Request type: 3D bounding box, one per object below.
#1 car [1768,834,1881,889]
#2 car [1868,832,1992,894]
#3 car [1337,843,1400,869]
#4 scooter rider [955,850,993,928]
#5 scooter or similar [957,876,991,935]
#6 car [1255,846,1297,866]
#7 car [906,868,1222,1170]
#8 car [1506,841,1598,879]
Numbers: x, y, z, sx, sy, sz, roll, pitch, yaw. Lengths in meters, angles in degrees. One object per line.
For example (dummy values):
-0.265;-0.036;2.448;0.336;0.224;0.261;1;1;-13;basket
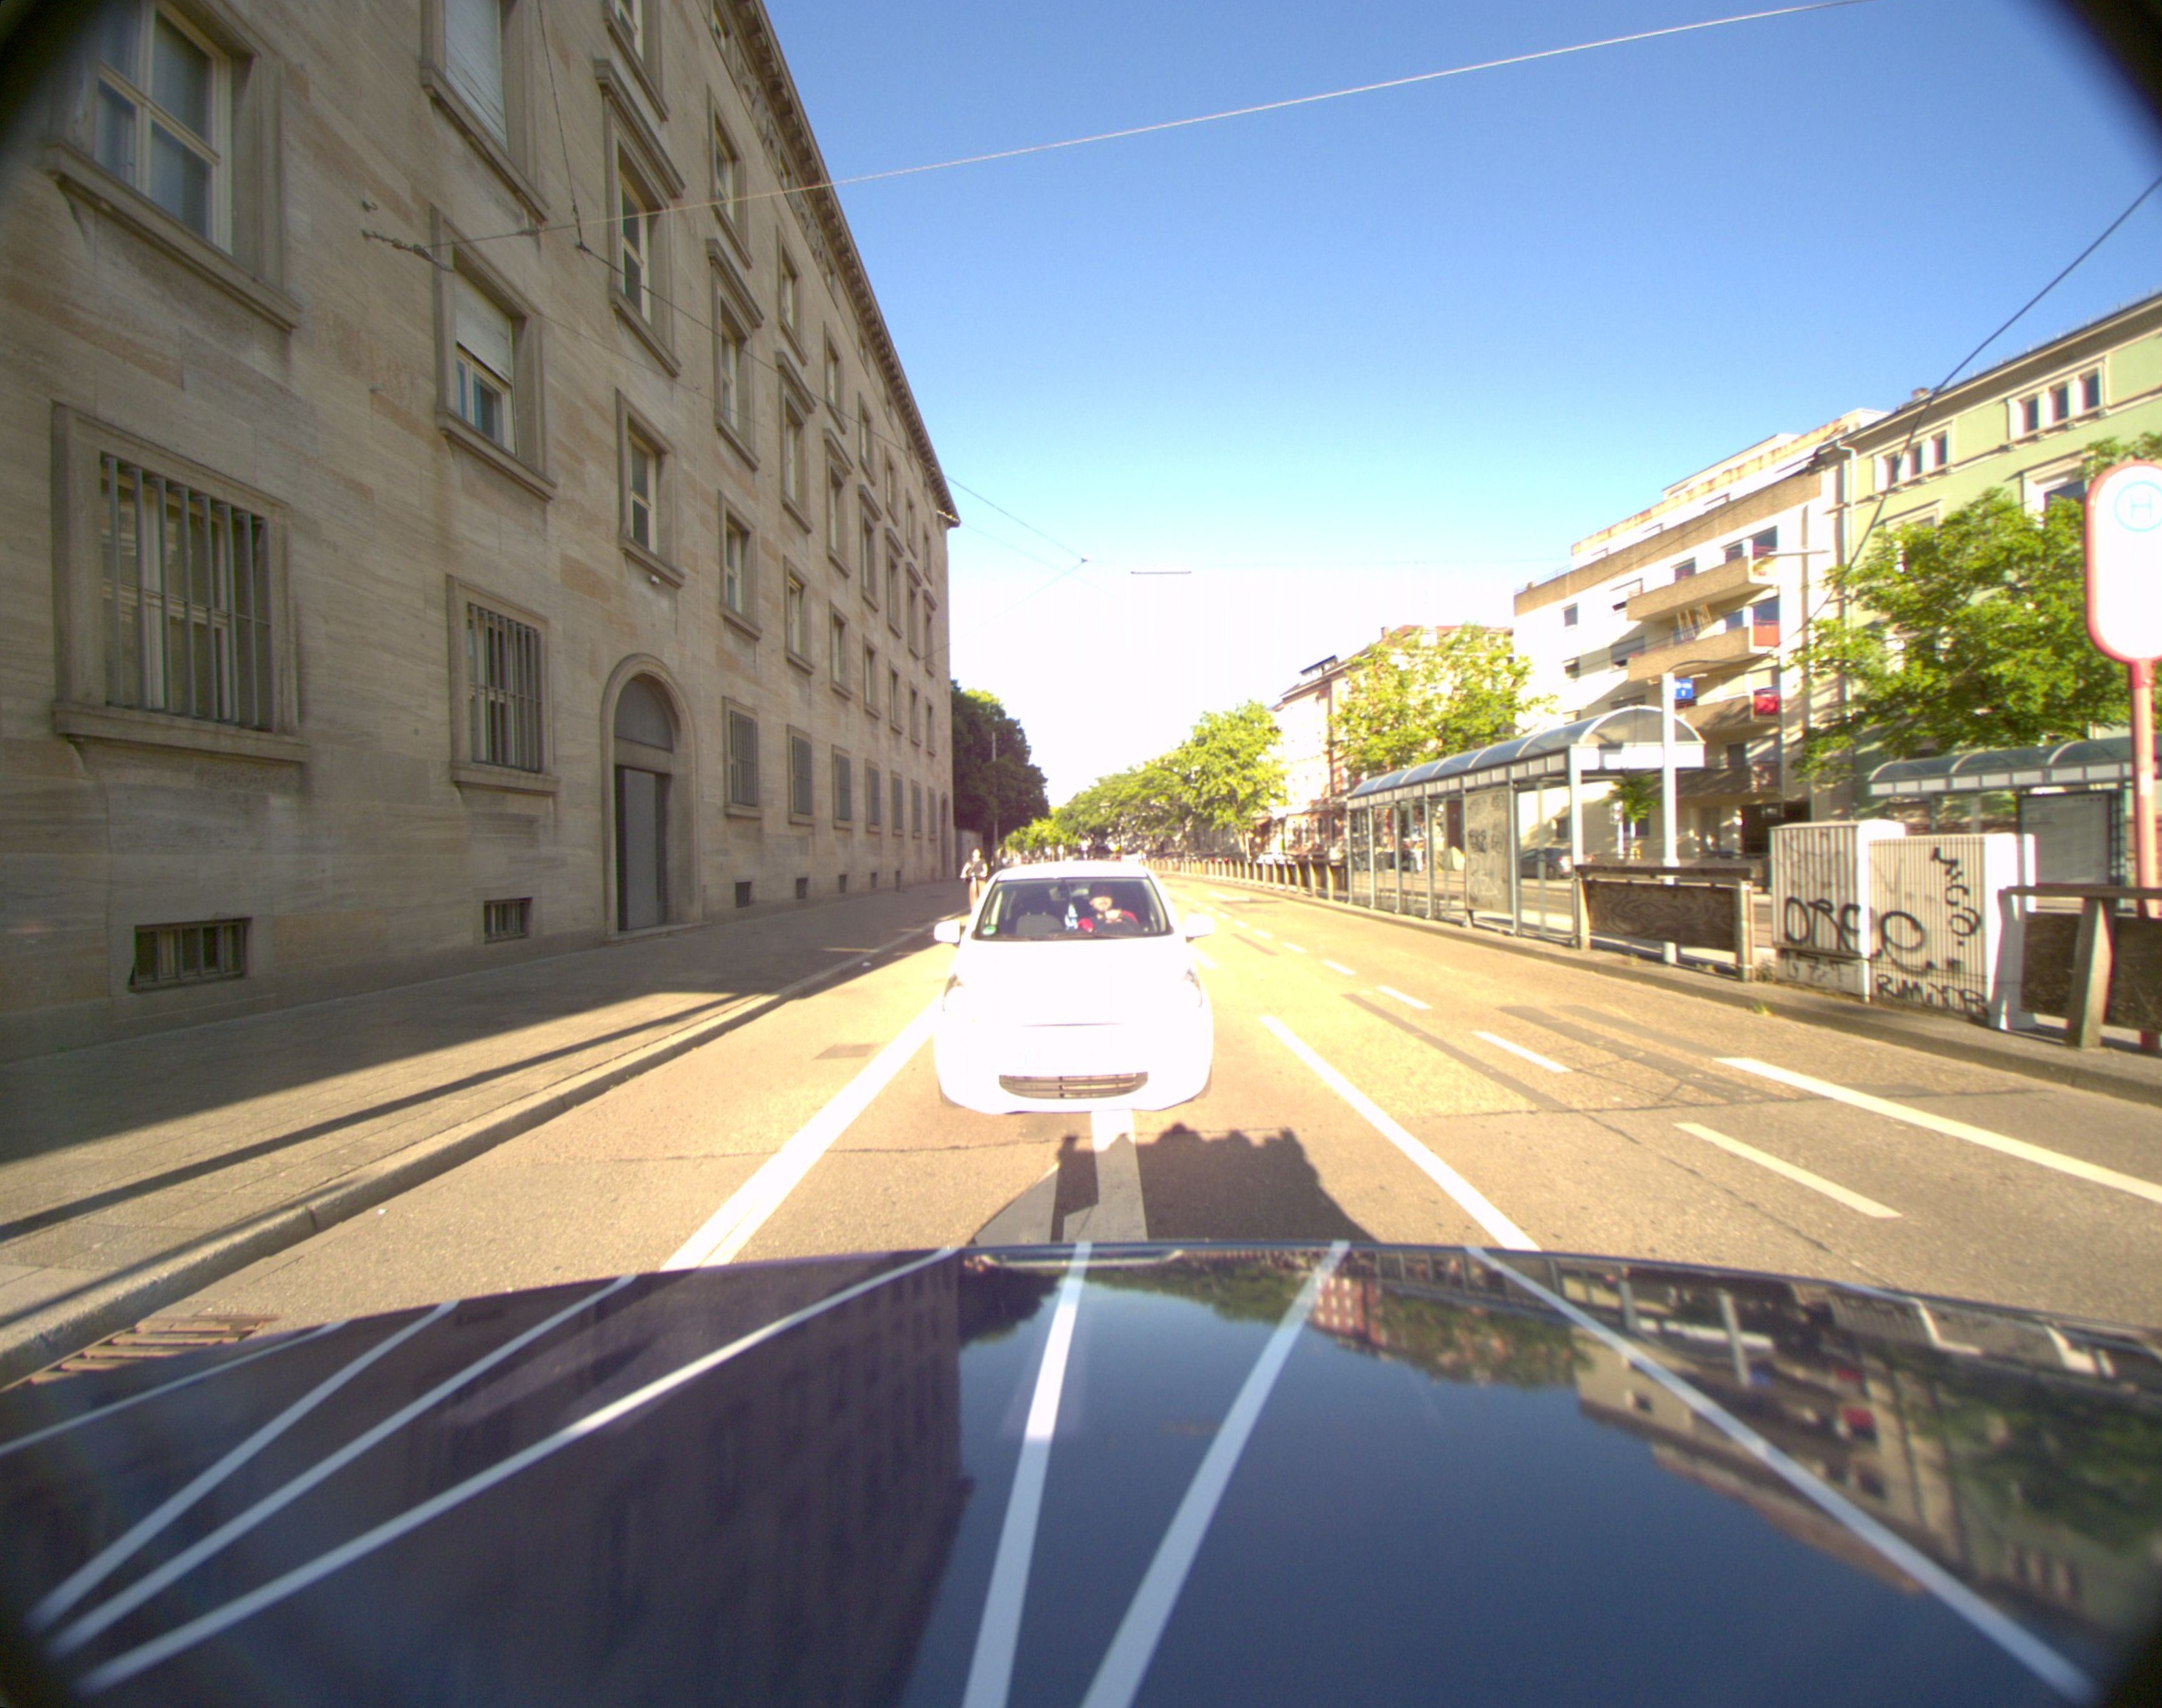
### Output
23.897;0.222;24.406;3.605;1.558;1.627;-3;1;-29;car
24.475;0.228;21.894;3.605;1.558;1.627;-3;1;-29;car
19.560;0.120;51.727;3.599;1.558;1.630;-2;1;-7;car
-2.328;0.751;16.581;0.731;1.661;0.556;-1;1;0;scooter rider
-2.325;1.098;16.586;0.536;1.178;1.328;-1;0;0;scooter or similar
16.275;0.151;63.481;3.607;1.558;1.627;-3;1;-42;car
-0.063;0.904;5.815;1.612;1.462;3.631;-2;0;1;car
20.929;0.228;33.936;1.631;1.558;3.598;-2;1;-5;car
